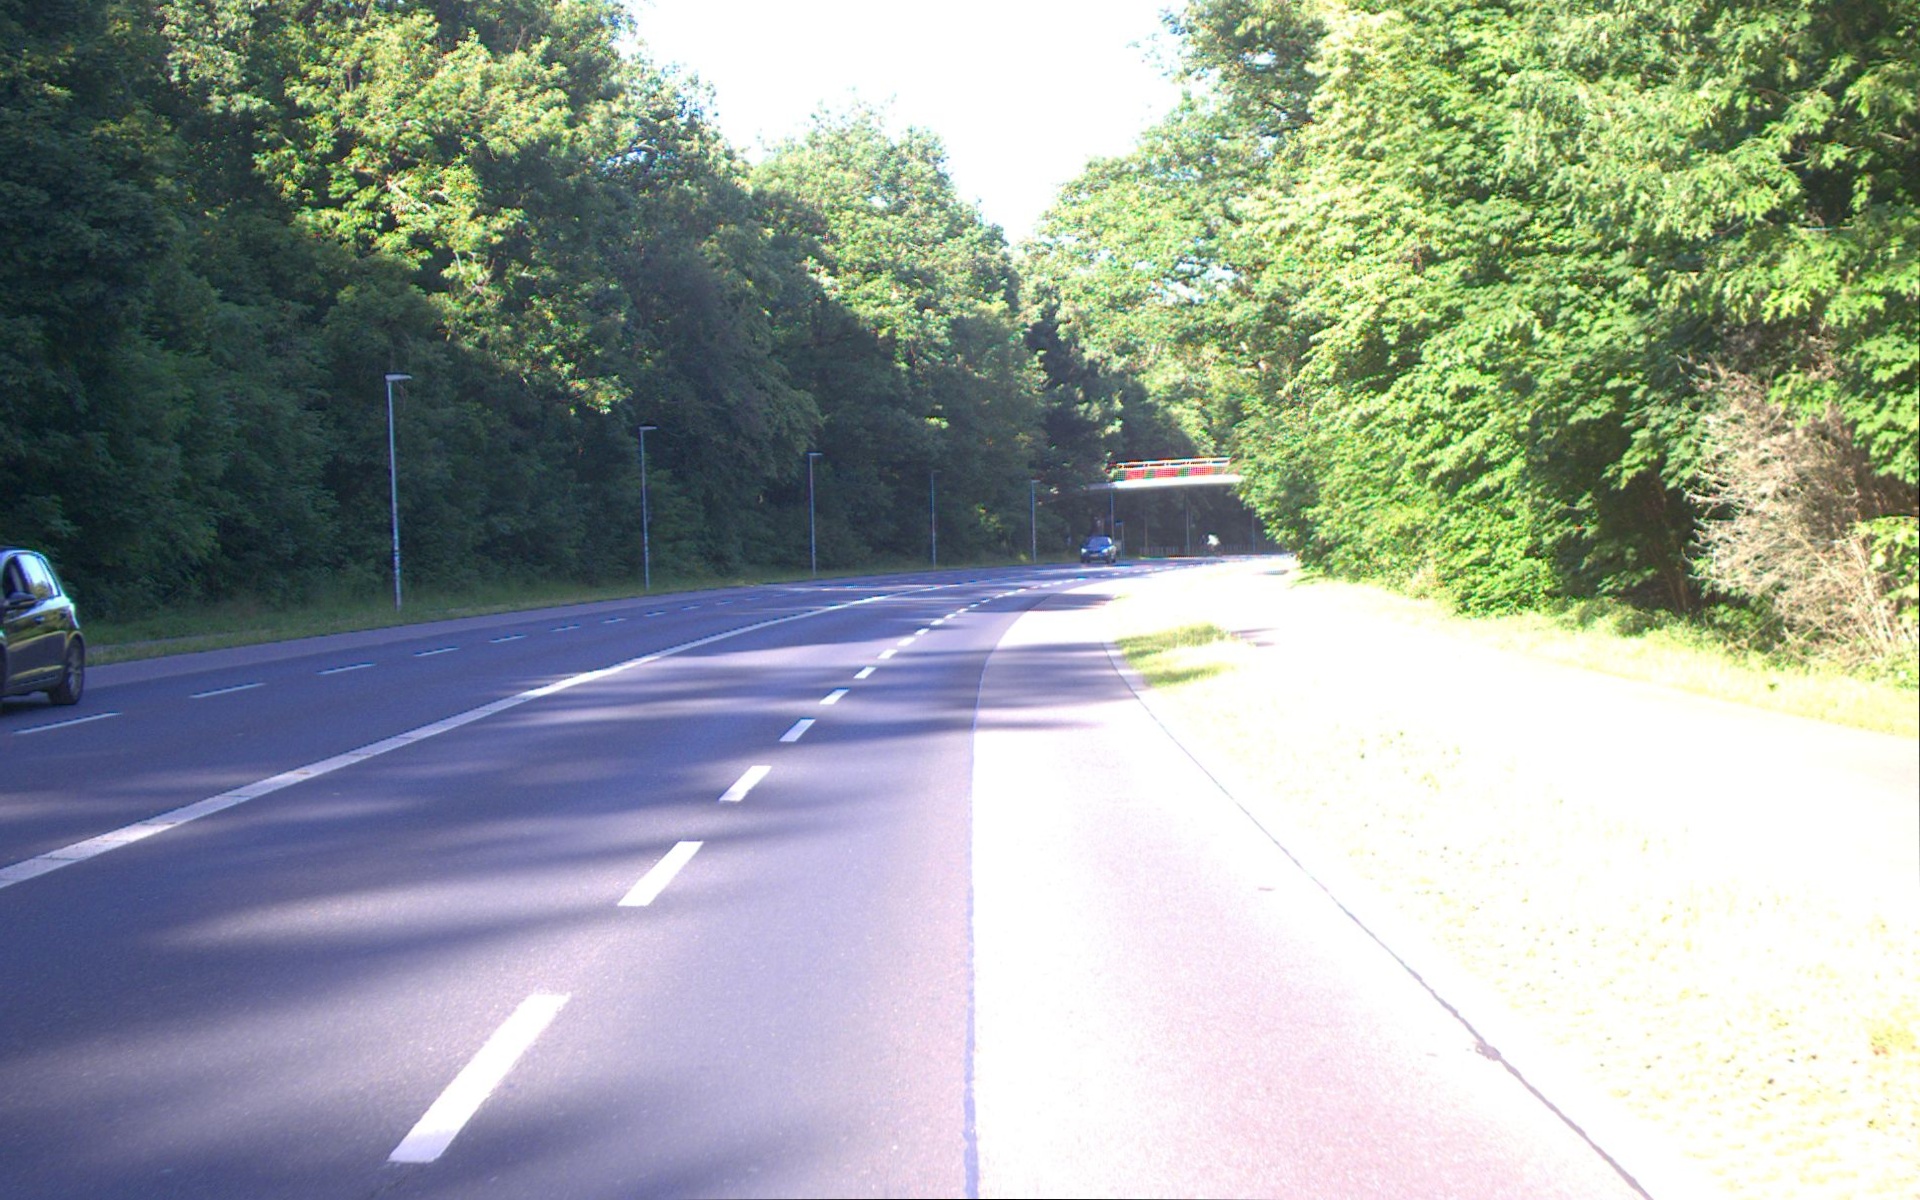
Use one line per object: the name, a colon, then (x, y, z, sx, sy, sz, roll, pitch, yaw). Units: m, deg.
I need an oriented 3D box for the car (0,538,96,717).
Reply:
car: (-8.776, 0.224, 29.613, 1.657, 1.475, 4.173, -1, 1, -1)

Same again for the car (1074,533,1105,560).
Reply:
car: (8.033, -3.315, 213.482, 1.808, 1.657, 4.521, 0, 1, 4)
